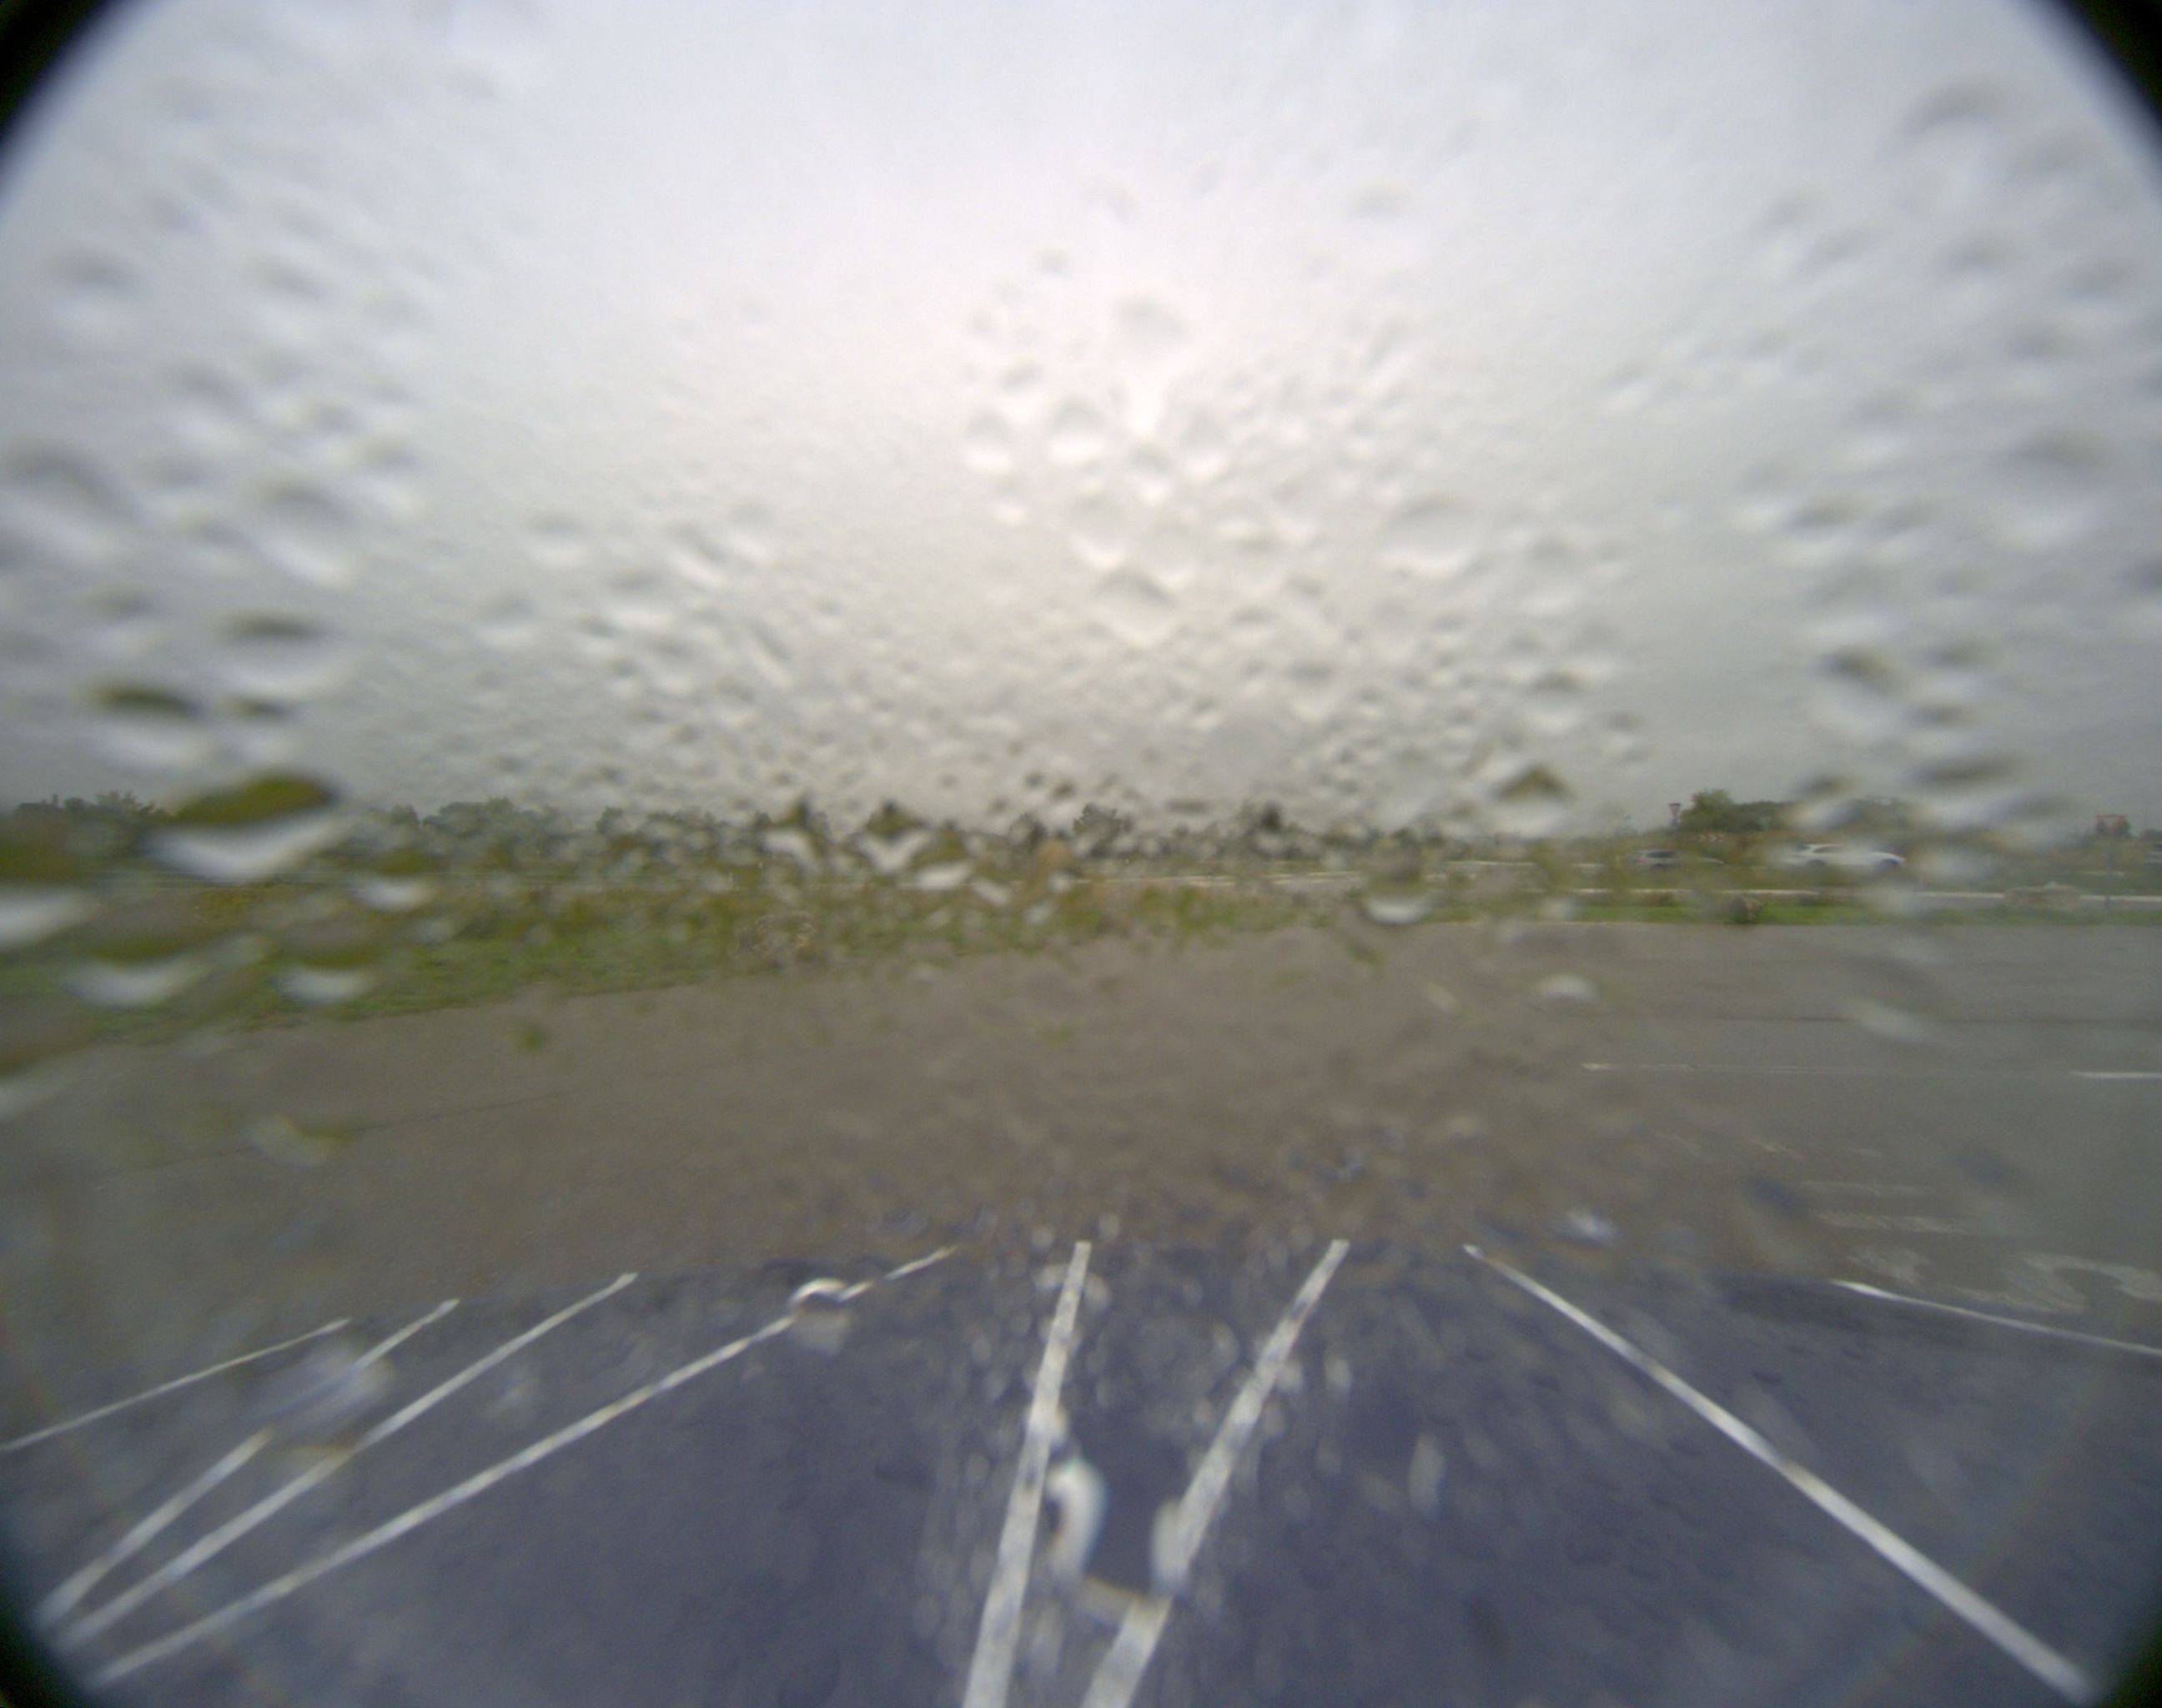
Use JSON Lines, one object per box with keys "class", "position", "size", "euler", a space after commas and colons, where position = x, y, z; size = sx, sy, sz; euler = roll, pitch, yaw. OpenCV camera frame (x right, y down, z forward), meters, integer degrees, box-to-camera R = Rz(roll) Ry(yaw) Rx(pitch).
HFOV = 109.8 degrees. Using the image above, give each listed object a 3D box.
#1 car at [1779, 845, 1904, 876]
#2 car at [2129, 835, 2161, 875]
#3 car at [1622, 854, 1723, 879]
{"class": "car", "position": [40.078, 0.301, 40.174], "size": [4.375, 1.575, 1.696], "euler": [0, 1, 22]}
{"class": "car", "position": [52.323, 0.058, 34.869], "size": [4.634, 1.862, 2.003], "euler": [0, 1, 21]}
{"class": "car", "position": [32.142, 0.661, 41.362], "size": [4.038, 1.318, 1.694], "euler": [0, 1, 6]}
